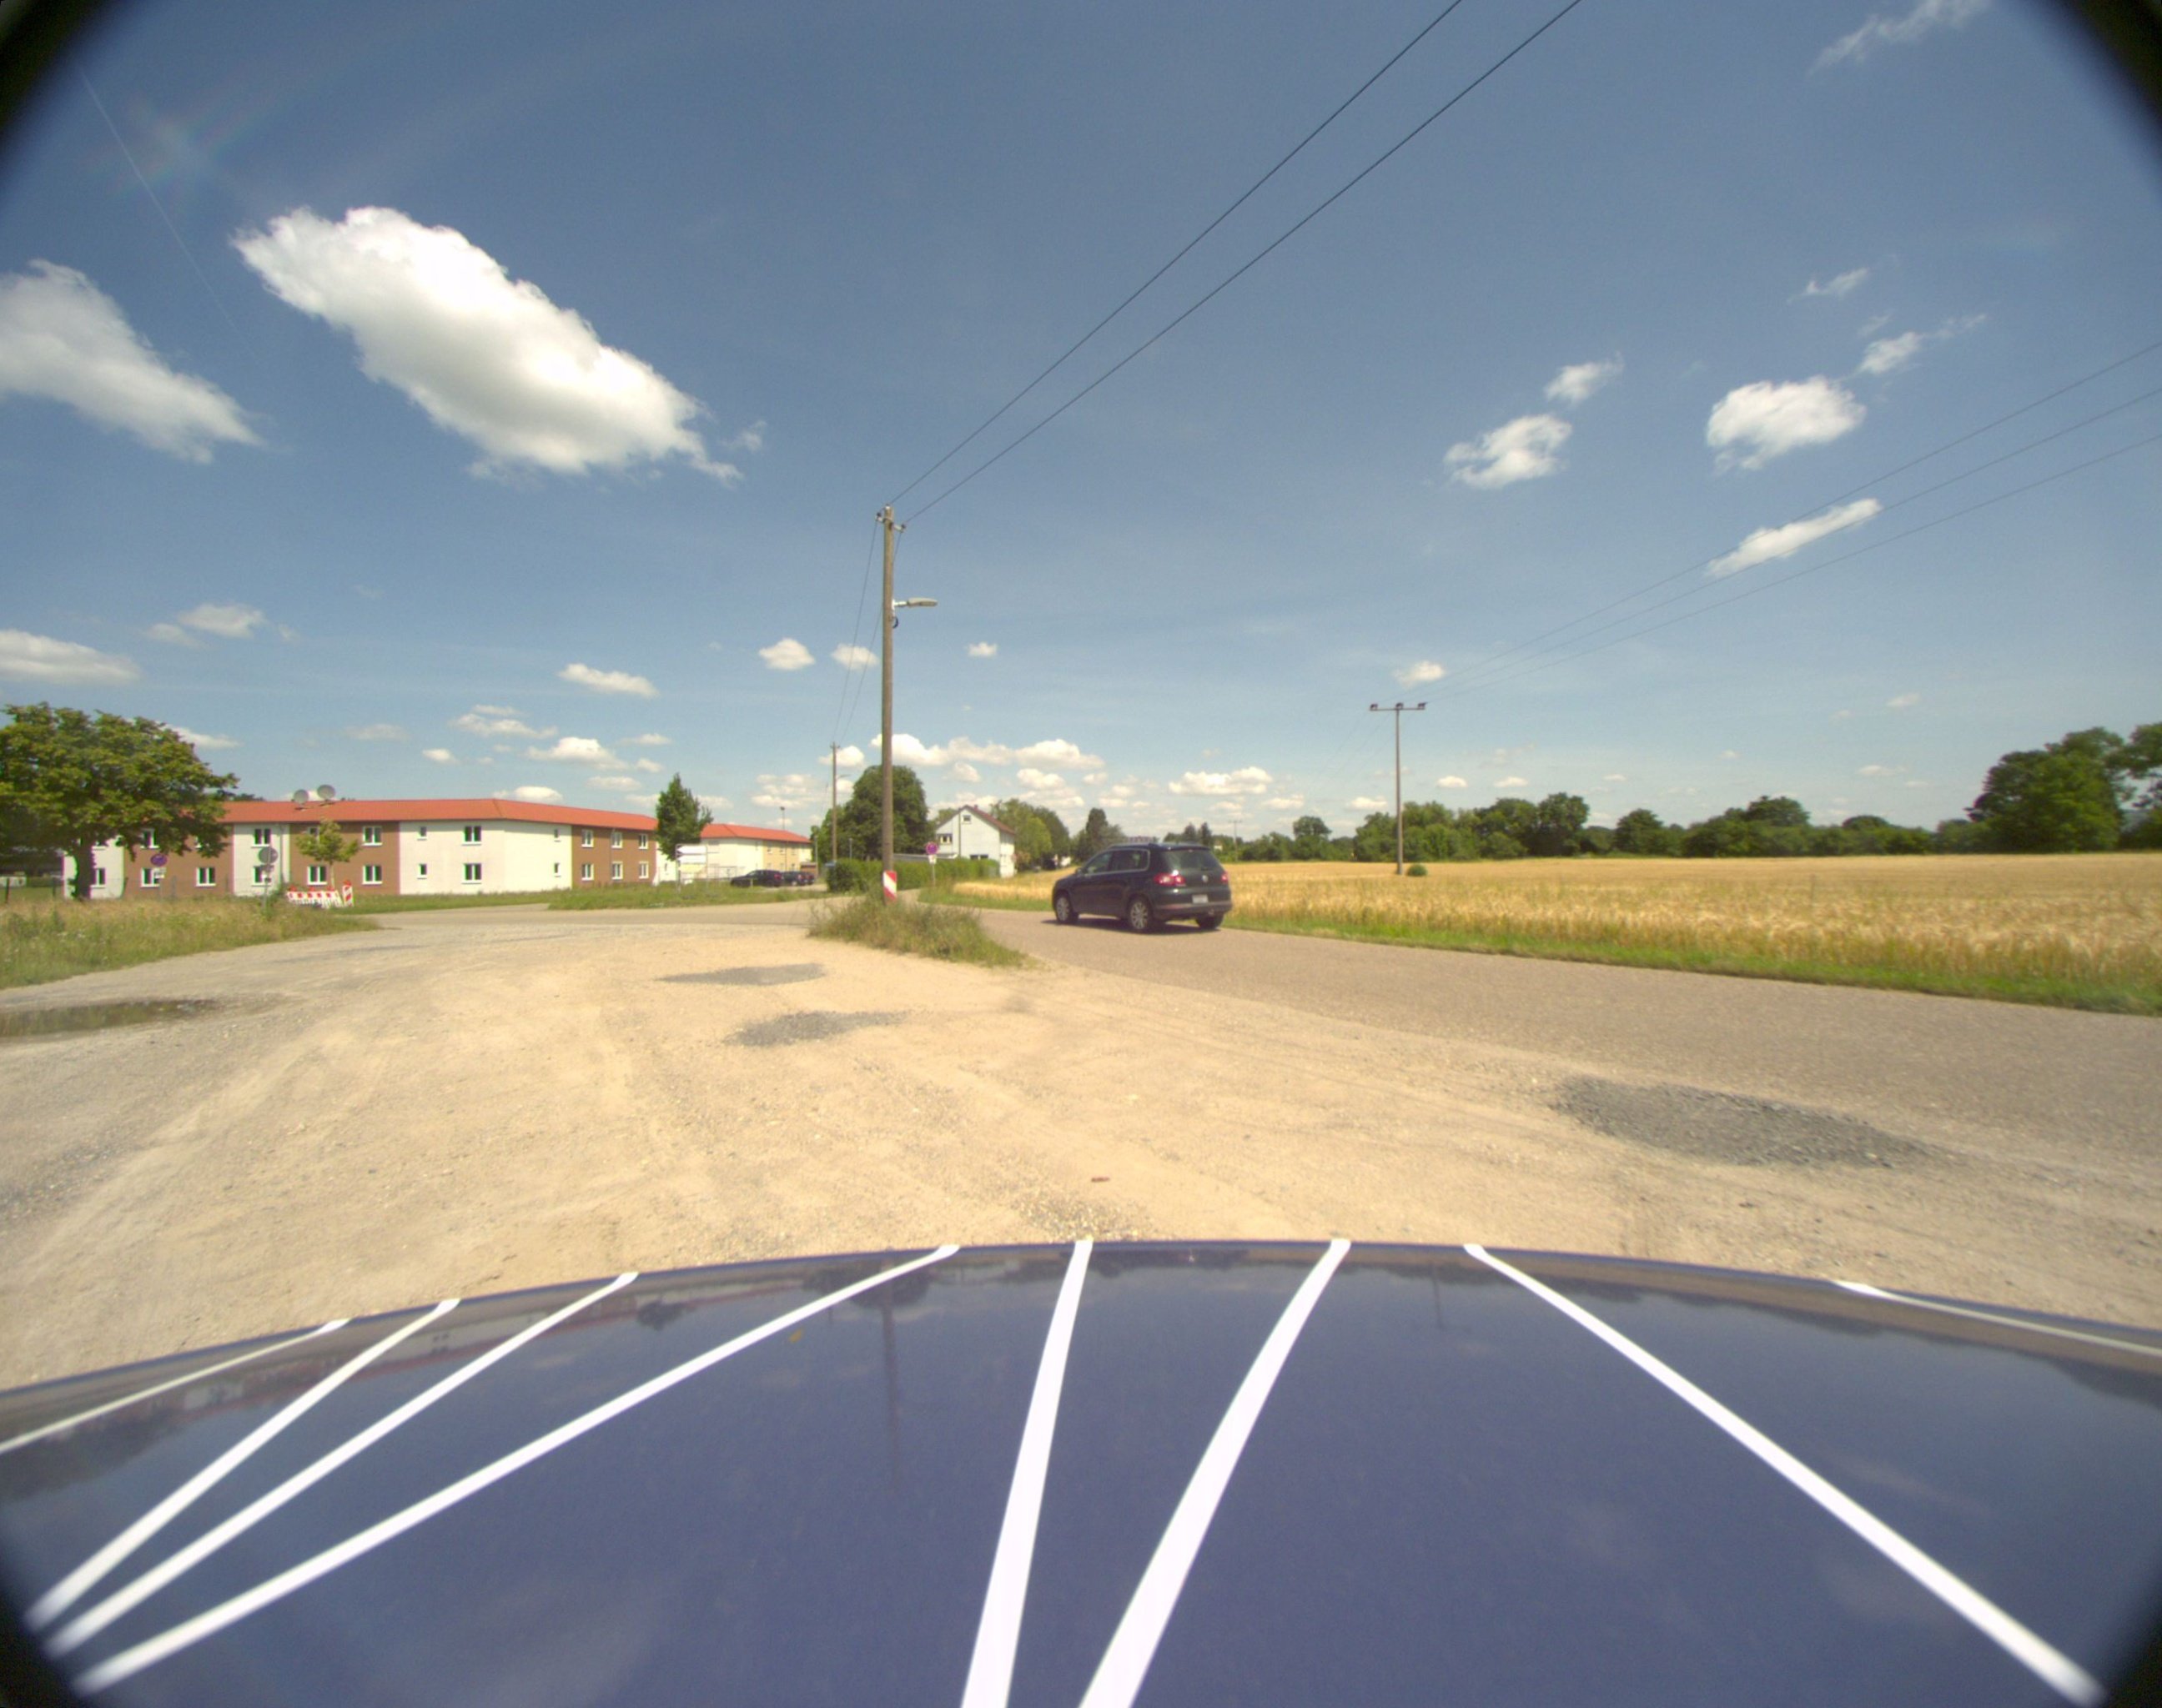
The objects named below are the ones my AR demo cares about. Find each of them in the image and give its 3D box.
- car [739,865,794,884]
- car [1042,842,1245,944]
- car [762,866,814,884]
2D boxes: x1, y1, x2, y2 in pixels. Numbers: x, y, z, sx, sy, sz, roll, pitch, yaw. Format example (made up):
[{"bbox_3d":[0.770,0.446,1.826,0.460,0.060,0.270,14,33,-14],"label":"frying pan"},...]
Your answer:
[{"bbox_3d":[-28.188,1.815,68.192,4.145,1.605,2.000,-1,-1,0],"label":"car"},{"bbox_3d":[1.051,0.660,14.969,1.752,1.669,4.244,-2,1,-32],"label":"car"},{"bbox_3d":[-27.805,1.973,72.122,4.145,1.605,2.000,-1,-1,0],"label":"car"}]
